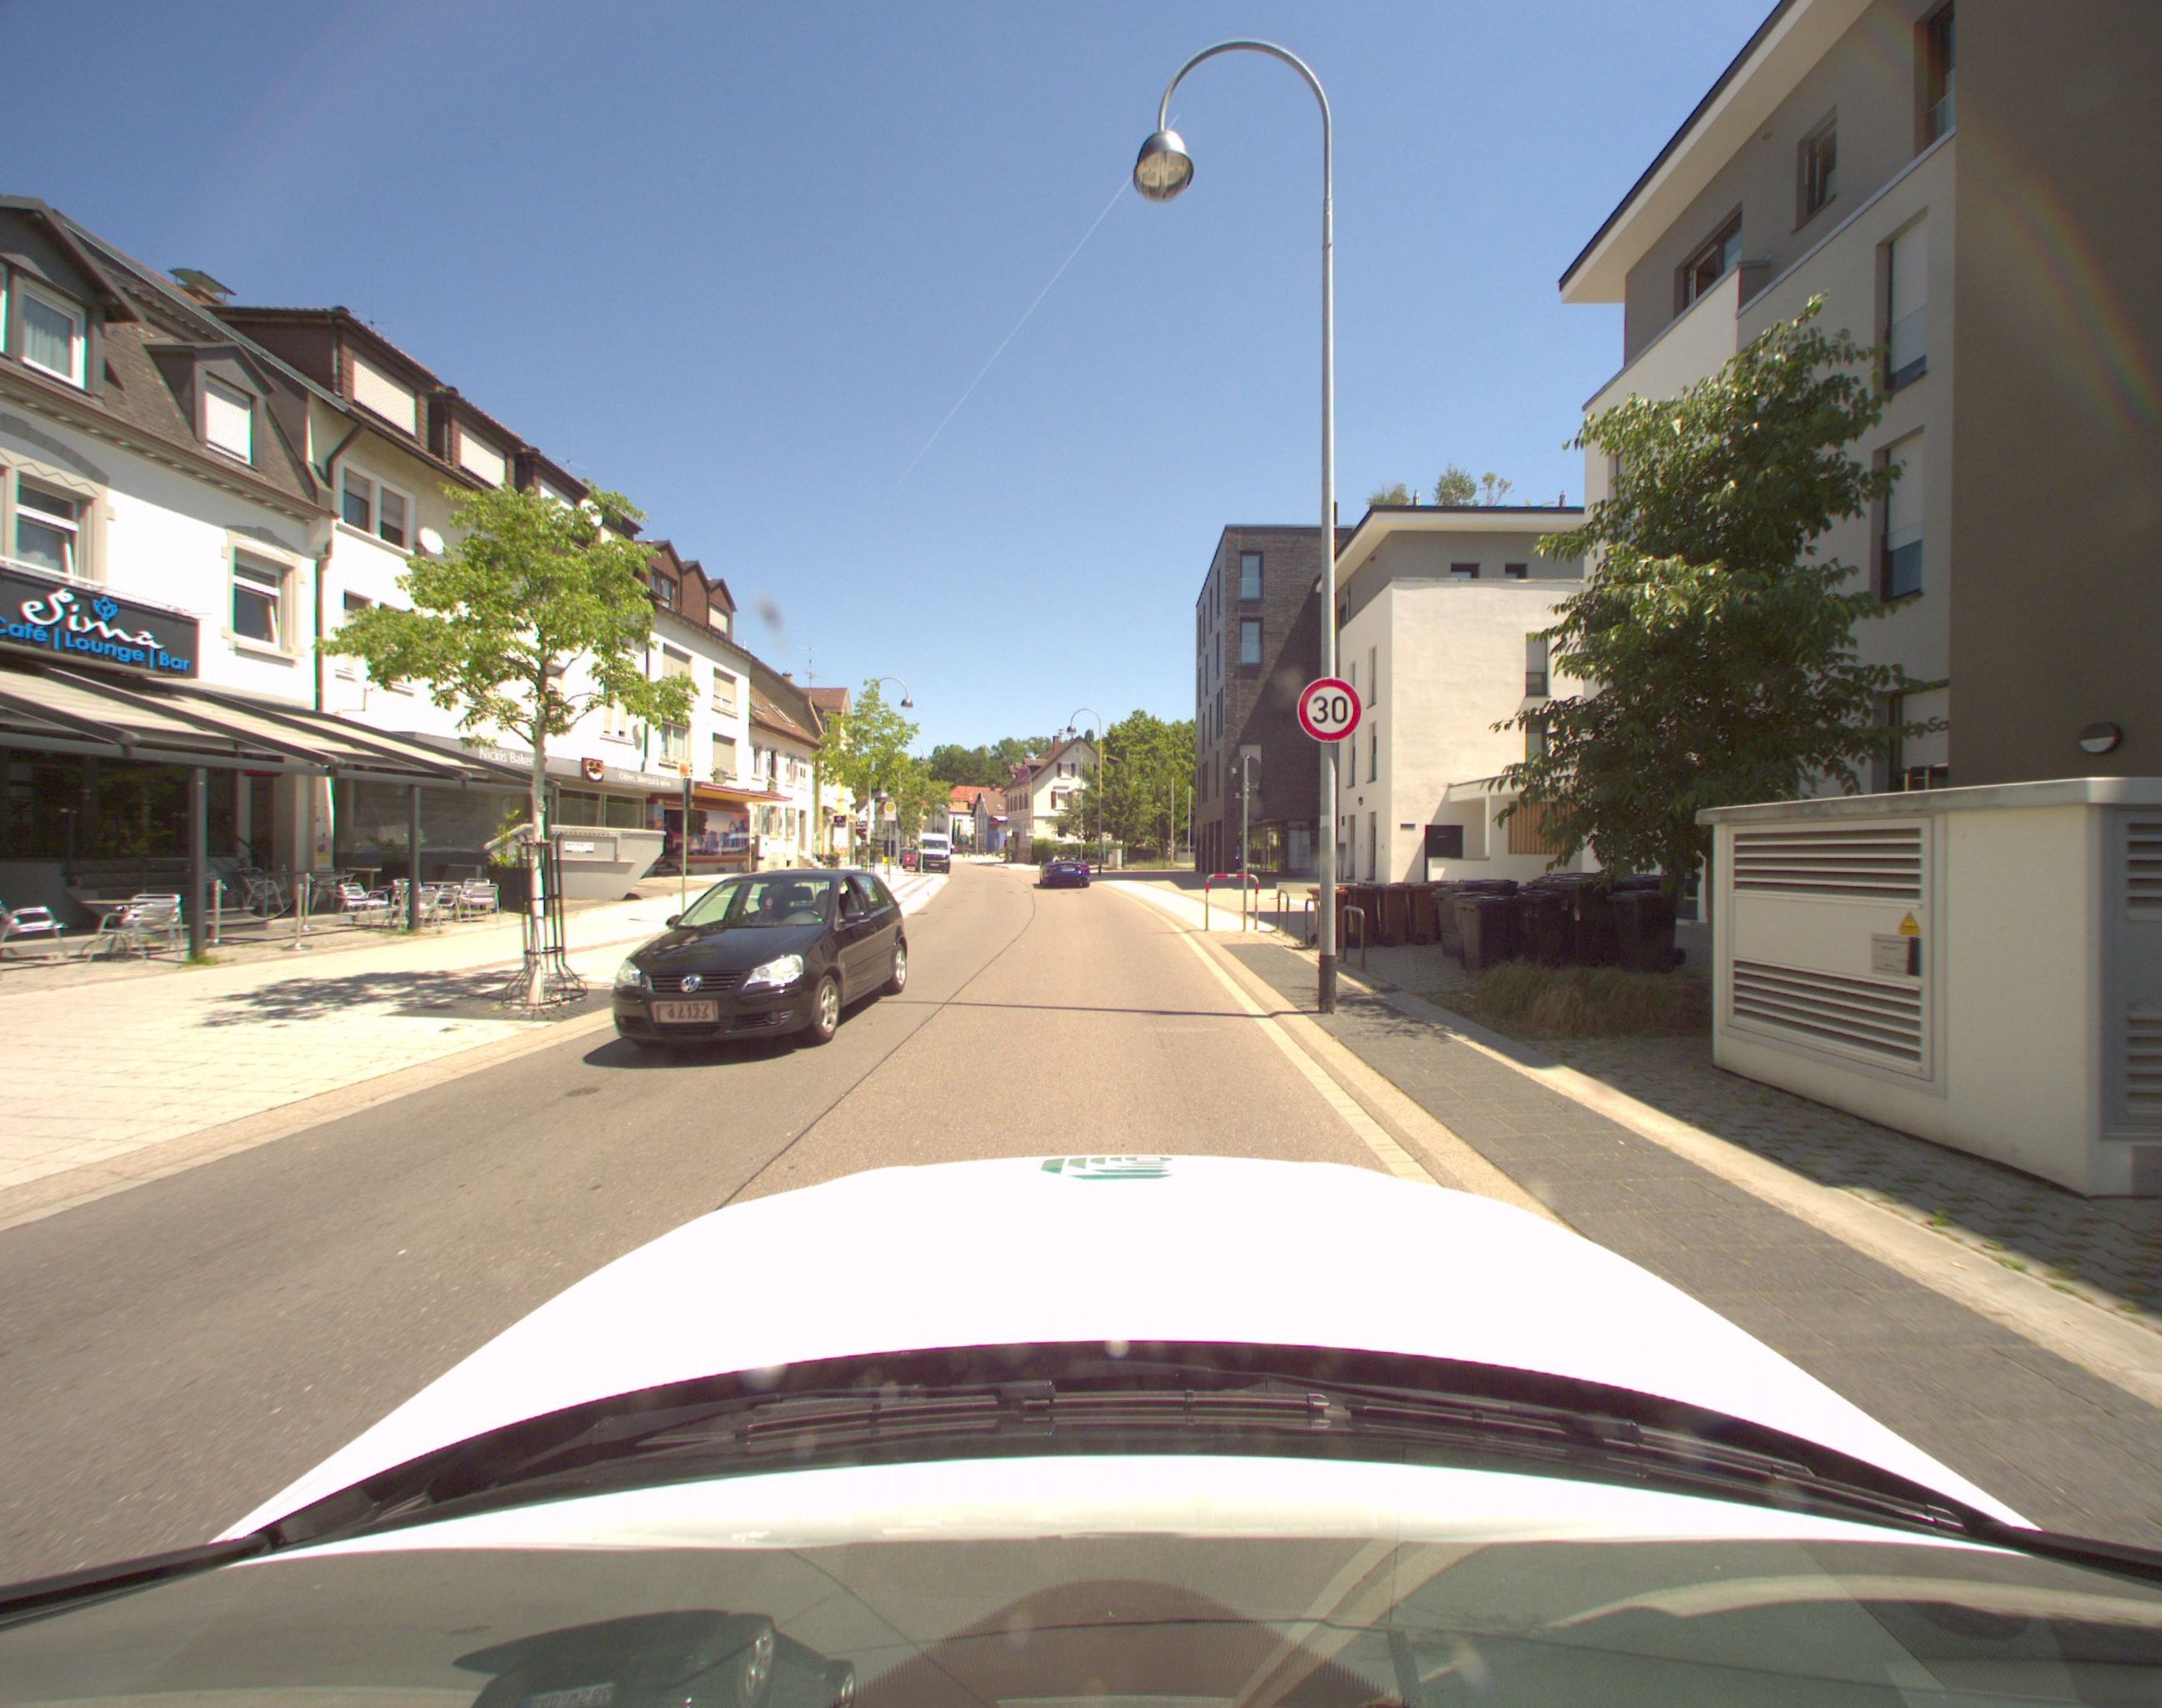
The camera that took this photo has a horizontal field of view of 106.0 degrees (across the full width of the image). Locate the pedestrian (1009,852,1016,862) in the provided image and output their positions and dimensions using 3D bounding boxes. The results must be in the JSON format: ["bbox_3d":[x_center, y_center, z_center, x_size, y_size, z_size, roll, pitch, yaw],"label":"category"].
[{"bbox_3d":[-6.925,0.261,82.358,0.591,0.999,0.720,-1,1,-17],"label":"pedestrian"}]

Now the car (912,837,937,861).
[{"bbox_3d":[-16.107,-0.480,83.788,2.160,2.362,5.221,-1,1,-15],"label":"car"}]

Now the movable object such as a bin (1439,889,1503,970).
[{"bbox_3d":[4.746,0.905,9.928,0.511,0.931,0.465,-2,0,-4],"label":"movable object such as a bin"}]

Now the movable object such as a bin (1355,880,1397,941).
[{"bbox_3d":[4.755,0.907,13.132,0.471,0.930,0.528,-1,0,1],"label":"movable object such as a bin"}]

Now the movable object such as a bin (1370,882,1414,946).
[{"bbox_3d":[4.787,0.917,12.563,0.463,0.930,0.522,-1,0,1],"label":"movable object such as a bin"}]

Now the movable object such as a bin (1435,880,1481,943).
[{"bbox_3d":[5.804,0.874,12.557,0.463,0.930,0.522,-1,0,1],"label":"movable object such as a bin"}]

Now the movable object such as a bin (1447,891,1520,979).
[{"bbox_3d":[4.550,0.908,9.232,0.560,0.931,0.465,-2,0,-5],"label":"movable object such as a bin"}]

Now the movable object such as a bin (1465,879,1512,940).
[{"bbox_3d":[6.464,0.870,12.925,0.471,0.930,0.528,-1,0,1],"label":"movable object such as a bin"}]

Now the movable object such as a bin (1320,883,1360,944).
[{"bbox_3d":[4.168,0.943,13.117,0.471,0.930,0.528,-1,0,1],"label":"movable object such as a bin"}]

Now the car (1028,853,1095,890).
[{"bbox_3d":[-0.889,0.679,34.012,1.914,1.360,4.264,-1,1,-15],"label":"car"}]

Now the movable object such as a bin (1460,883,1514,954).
[{"bbox_3d":[5.598,0.881,11.238,0.483,0.924,0.434,-2,0,-21],"label":"movable object such as a bin"}]

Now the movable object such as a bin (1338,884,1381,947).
[{"bbox_3d":[4.287,0.939,12.554,0.465,0.930,0.528,-1,0,1],"label":"movable object such as a bin"}]

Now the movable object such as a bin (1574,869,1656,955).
[{"bbox_3d":[6.965,0.748,10.644,0.643,1.060,0.626,-2,0,3],"label":"movable object such as a bin"}]

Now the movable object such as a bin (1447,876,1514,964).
[{"bbox_3d":[5.071,0.829,10.357,0.566,1.060,0.561,-2,0,3],"label":"movable object such as a bin"}]

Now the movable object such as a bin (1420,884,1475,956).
[{"bbox_3d":[5.042,0.895,11.210,0.517,0.924,0.434,-2,0,-21],"label":"movable object such as a bin"}]

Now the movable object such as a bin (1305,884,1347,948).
[{"bbox_3d":[3.770,0.944,12.552,0.471,0.930,0.528,-1,0,1],"label":"movable object such as a bin"}]

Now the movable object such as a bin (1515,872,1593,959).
[{"bbox_3d":[6.152,0.786,10.614,0.643,1.060,0.626,-2,0,3],"label":"movable object such as a bin"}]

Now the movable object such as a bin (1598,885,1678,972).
[{"bbox_3d":[6.348,0.840,9.294,0.560,0.931,0.465,-2,0,-5],"label":"movable object such as a bin"}]

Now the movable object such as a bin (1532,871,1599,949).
[{"bbox_3d":[6.873,0.776,11.572,0.569,1.041,0.558,-2,0,-12],"label":"movable object such as a bin"}]

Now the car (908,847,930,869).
[{"bbox_3d":[-11.893,0.268,59.785,1.561,1.520,3.501,0,0,-12],"label":"car"}]

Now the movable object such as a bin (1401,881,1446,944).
[{"bbox_3d":[5.277,0.895,12.558,0.463,0.930,0.522,-1,0,1],"label":"movable object such as a bin"}]

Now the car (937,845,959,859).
[{"bbox_3d":[-19.834,-0.354,121.687,2.005,2.013,3.963,1,0,-29],"label":"car"}]

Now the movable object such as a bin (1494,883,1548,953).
[{"bbox_3d":[6.114,0.877,11.321,0.483,0.924,0.434,-2,0,-21],"label":"movable object such as a bin"}]

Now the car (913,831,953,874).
[{"bbox_3d":[-9.420,-0.097,51.485,2.095,2.498,5.478,2,0,-14],"label":"car"}]

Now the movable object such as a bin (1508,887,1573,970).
[{"bbox_3d":[5.493,0.875,9.749,0.483,0.931,0.467,-2,0,-4],"label":"movable object such as a bin"}]

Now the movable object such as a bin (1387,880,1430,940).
[{"bbox_3d":[5.278,0.892,13.129,0.471,0.930,0.528,-1,0,1],"label":"movable object such as a bin"}]

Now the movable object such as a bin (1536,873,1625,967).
[{"bbox_3d":[6.043,0.784,9.868,0.646,1.060,0.623,-2,0,-11],"label":"movable object such as a bin"}]

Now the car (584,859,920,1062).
[{"bbox_3d":[-2.848,0.811,8.031,1.610,1.453,3.865,-2,0,2],"label":"car"}]

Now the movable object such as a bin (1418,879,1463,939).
[{"bbox_3d":[5.782,0.876,13.110,0.471,0.930,0.528,-1,0,1],"label":"movable object such as a bin"}]

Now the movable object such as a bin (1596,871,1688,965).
[{"bbox_3d":[6.807,0.755,9.905,0.646,1.060,0.623,-2,0,-11],"label":"movable object such as a bin"}]
